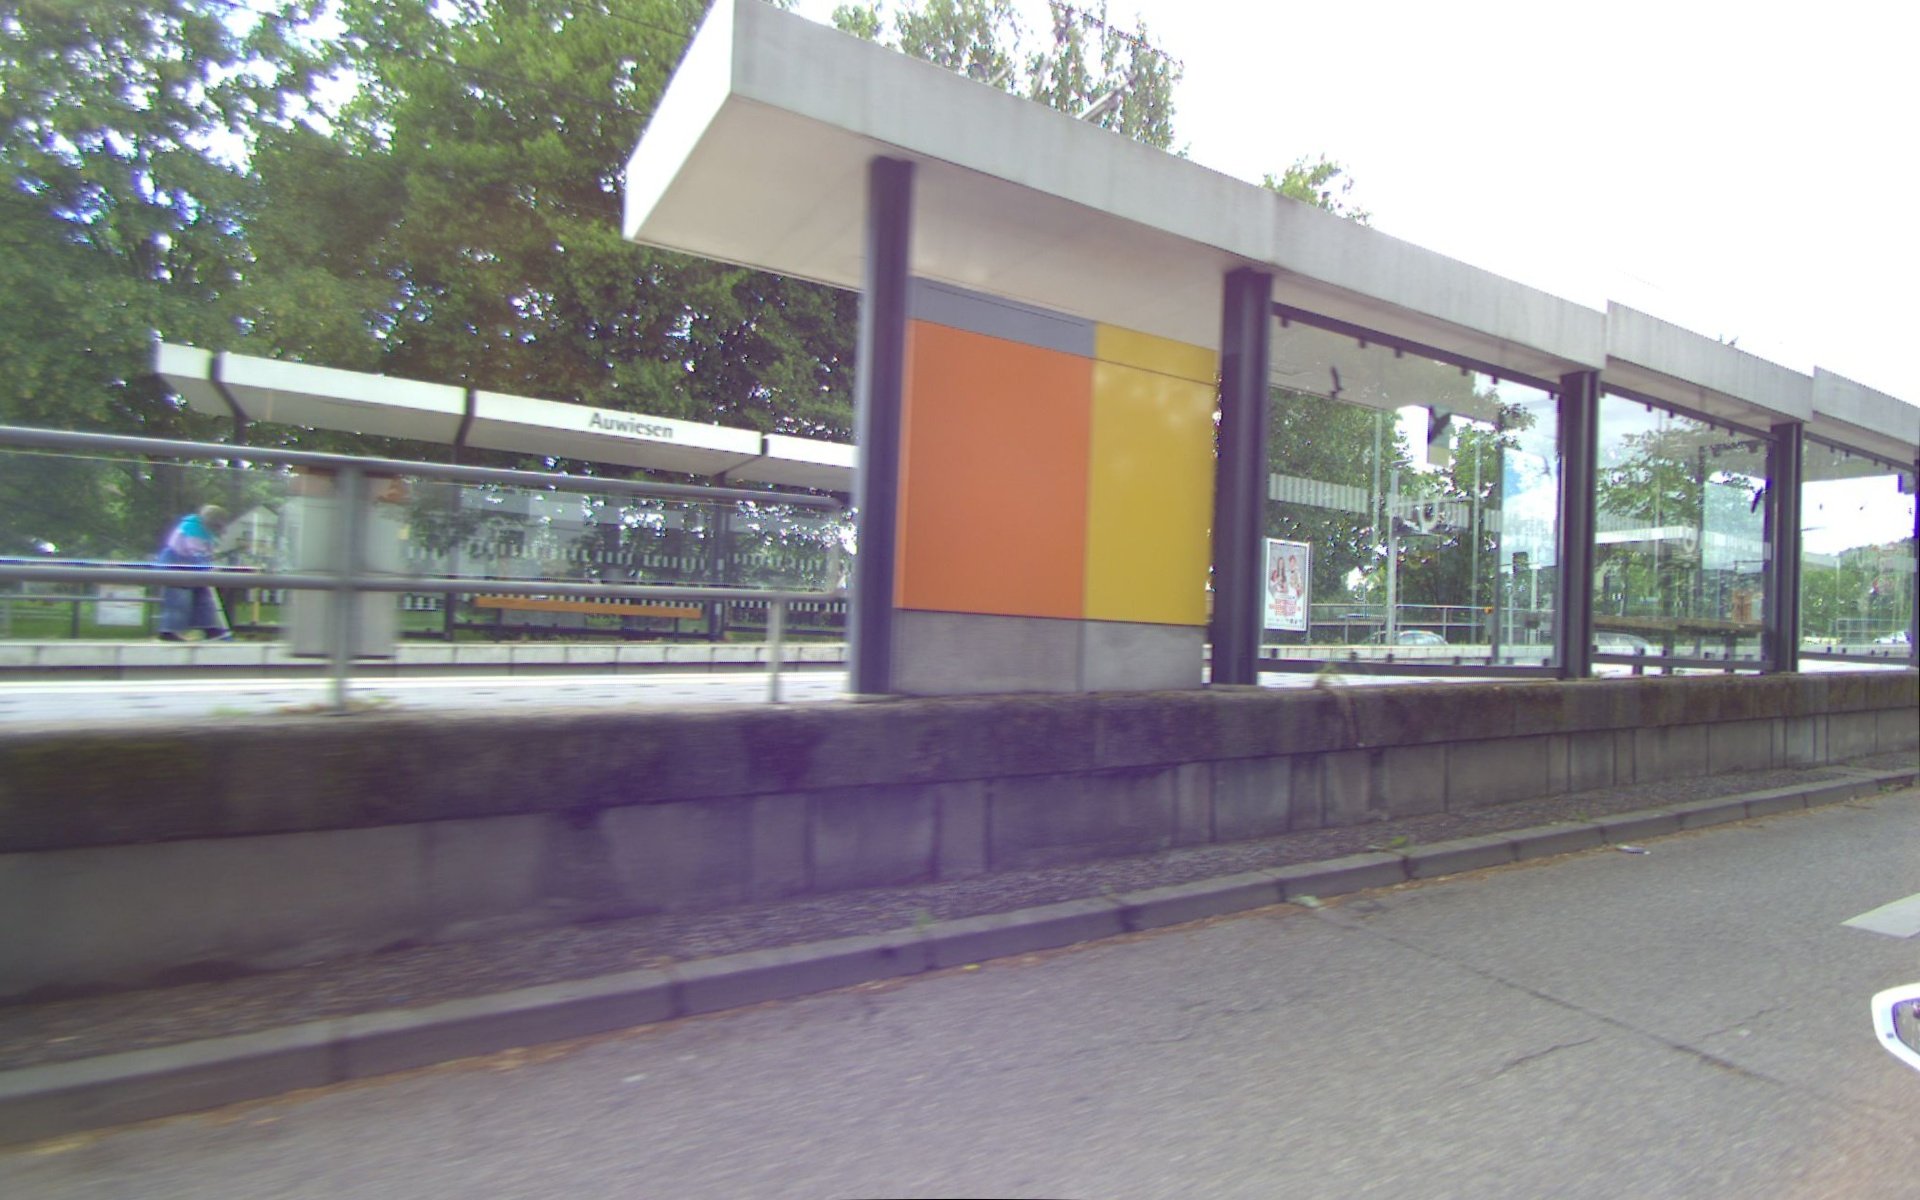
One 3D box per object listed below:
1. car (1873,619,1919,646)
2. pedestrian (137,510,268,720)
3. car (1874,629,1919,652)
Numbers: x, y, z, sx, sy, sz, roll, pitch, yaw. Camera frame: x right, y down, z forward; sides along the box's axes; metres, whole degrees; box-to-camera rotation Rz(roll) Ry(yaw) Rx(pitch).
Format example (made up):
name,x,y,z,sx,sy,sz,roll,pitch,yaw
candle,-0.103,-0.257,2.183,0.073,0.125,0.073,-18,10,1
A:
name,x,y,z,sx,sy,sz,roll,pitch,yaw
car,66.032,2.292,70.297,1.581,1.728,3.393,3,0,11
pedestrian,-8.454,0.178,11.265,0.964,2.215,0.965,2,-1,-29
car,65.876,2.805,69.652,1.959,1.418,4.002,1,0,13
